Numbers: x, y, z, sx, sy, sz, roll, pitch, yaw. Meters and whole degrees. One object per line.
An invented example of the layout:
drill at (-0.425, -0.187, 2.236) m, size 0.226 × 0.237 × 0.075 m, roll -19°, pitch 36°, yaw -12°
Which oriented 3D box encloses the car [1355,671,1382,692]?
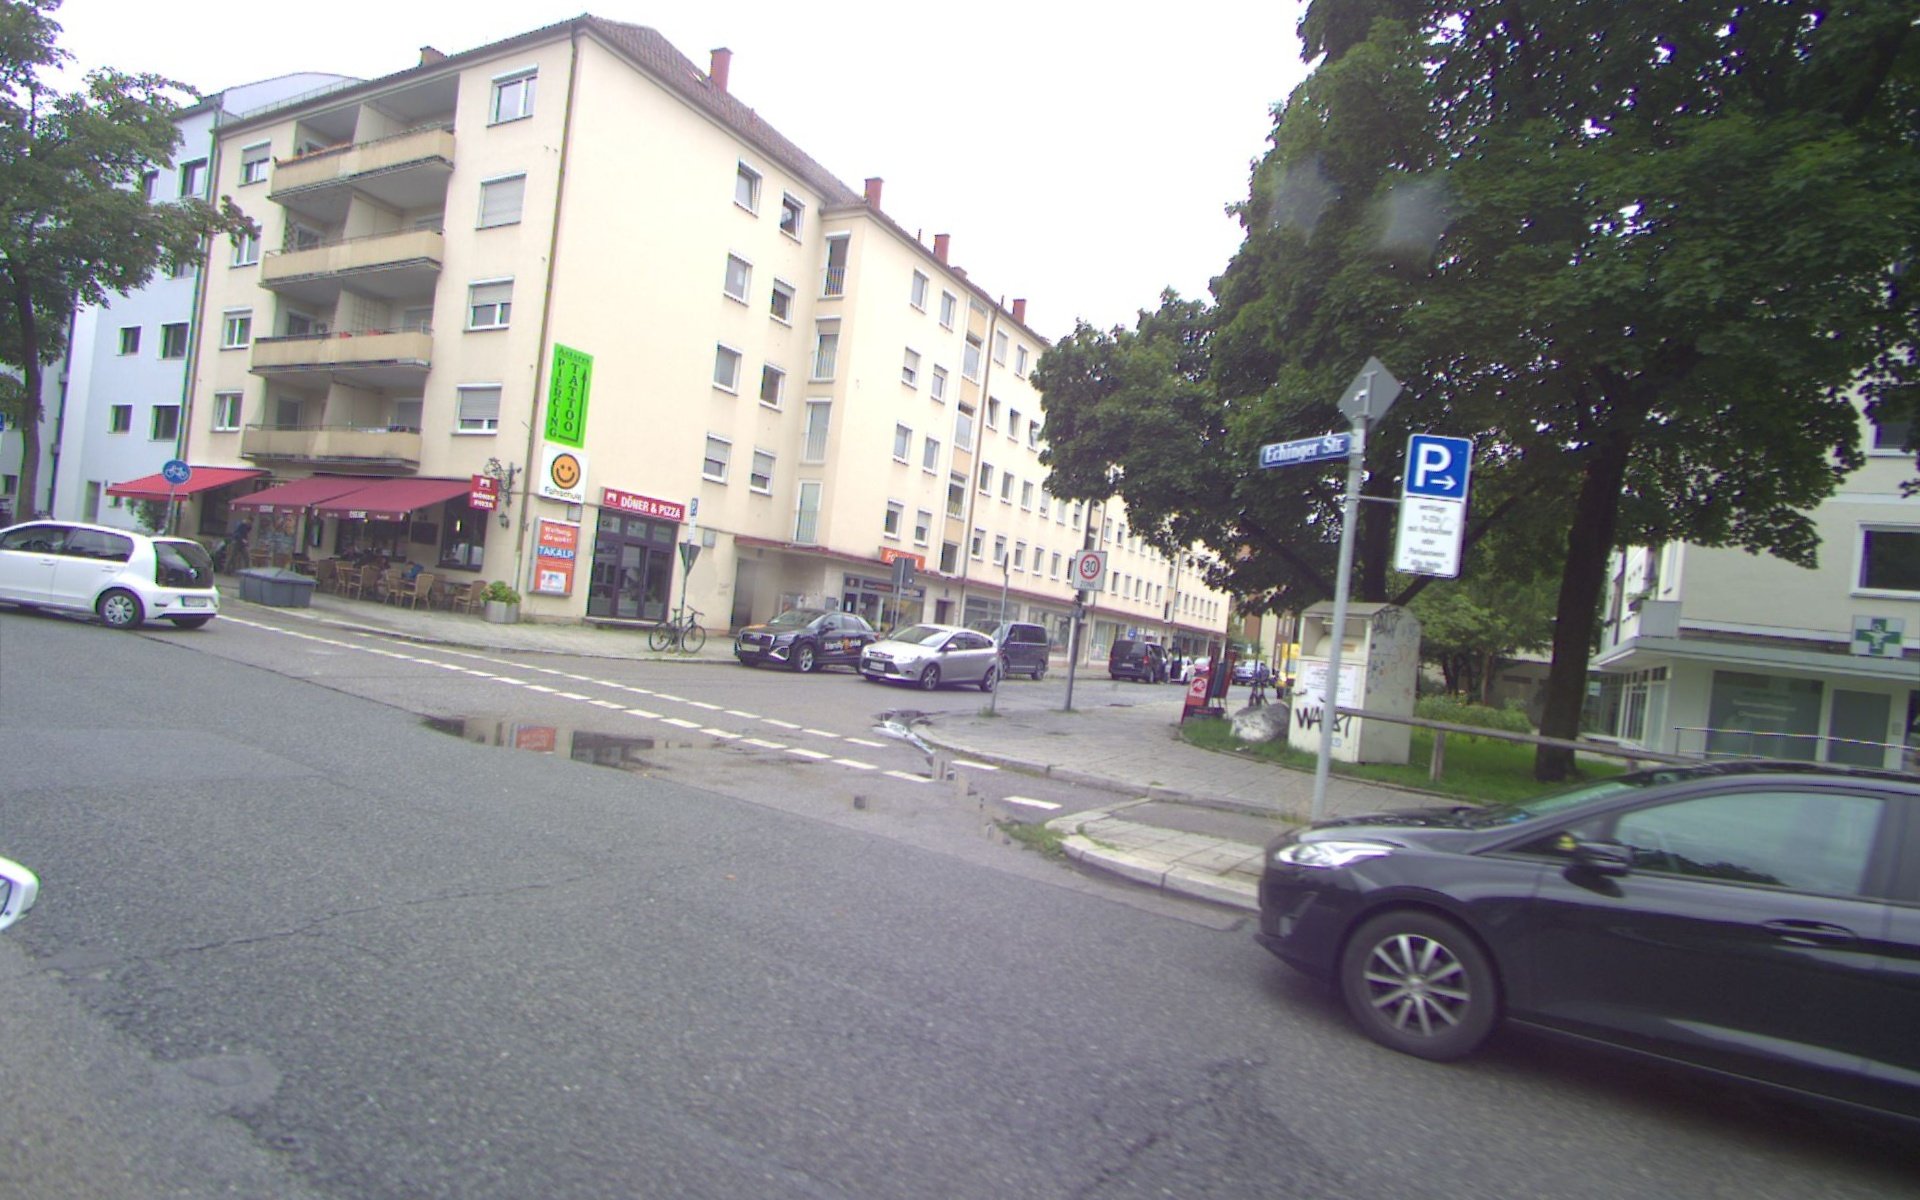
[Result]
car at (35.797, 7.164, 88.123) m, size 1.573 × 1.638 × 3.763 m, roll 6°, pitch -1°, yaw 30°

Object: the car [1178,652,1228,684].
car at (13.491, 3.793, 55.699) m, size 1.573 × 1.459 × 3.763 m, roll 7°, pitch -2°, yaw 30°

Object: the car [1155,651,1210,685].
car at (11.552, 3.550, 52.086) m, size 1.573 × 1.459 × 3.763 m, roll 7°, pitch -2°, yaw 30°

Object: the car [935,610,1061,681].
car at (1.380, 1.572, 33.626) m, size 1.966 × 1.907 × 4.994 m, roll 7°, pitch -2°, yaw 30°

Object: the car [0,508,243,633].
car at (-13.295, -0.472, 15.299) m, size 3.375 × 1.507 × 1.691 m, roll 7°, pitch -1°, yaw -6°

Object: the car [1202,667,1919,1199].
car at (3.276, 1.331, 4.355) m, size 3.890 × 1.494 × 1.647 m, roll 7°, pitch -1°, yaw 31°

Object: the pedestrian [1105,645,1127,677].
pedestrian at (7.371, 2.894, 47.494) m, size 0.723 × 1.427 × 0.493 m, roll 6°, pitch 0°, yaw 37°

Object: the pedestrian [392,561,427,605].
pedestrian at (-14.445, -0.447, 26.417) m, size 0.479 × 1.066 × 0.539 m, roll 7°, pitch 0°, yaw 31°

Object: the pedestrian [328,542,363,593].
pedestrian at (-17.444, -0.927, 28.560) m, size 0.543 × 1.355 × 0.539 m, roll 7°, pitch 0°, yaw 30°

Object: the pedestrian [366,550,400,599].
pedestrian at (-15.627, -0.680, 27.250) m, size 0.479 × 1.229 × 0.539 m, roll 7°, pitch 0°, yaw 31°

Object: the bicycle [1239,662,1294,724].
bicycle at (6.426, 1.938, 21.075) m, size 0.687 × 1.170 × 1.472 m, roll 7°, pitch -1°, yaw 29°

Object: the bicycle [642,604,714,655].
bicycle at (-6.519, 0.696, 23.320) m, size 0.545 × 1.023 × 1.541 m, roll 7°, pitch -1°, yaw 34°

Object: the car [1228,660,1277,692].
car at (20.011, 5.207, 68.756) m, size 1.966 × 1.806 × 4.994 m, roll 7°, pitch -2°, yaw 30°

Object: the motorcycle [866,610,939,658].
motorcycle at (-2.010, 1.259, 36.053) m, size 0.875 × 1.459 × 3.259 m, roll 6°, pitch -2°, yaw 29°

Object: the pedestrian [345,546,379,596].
pedestrian at (-16.514, -0.803, 27.791) m, size 0.478 × 1.283 × 0.539 m, roll 7°, pitch 0°, yaw 30°

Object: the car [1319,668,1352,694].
car at (27.543, 5.980, 73.693) m, size 1.573 × 1.638 × 3.763 m, roll 6°, pitch -1°, yaw 30°

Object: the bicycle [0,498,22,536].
bicycle at (-39.359, -3.446, 41.193) m, size 2.550 × 1.425 × 0.703 m, roll 6°, pitch 2°, yaw 32°

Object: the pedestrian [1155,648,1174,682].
pedestrian at (9.585, 3.047, 47.096) m, size 0.486 × 1.551 × 0.733 m, roll 7°, pitch 0°, yaw 31°

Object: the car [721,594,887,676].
car at (-3.623, 0.888, 24.053) m, size 1.701 × 1.537 × 3.933 m, roll 7°, pitch -2°, yaw 30°

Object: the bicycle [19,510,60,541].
bicycle at (-35.795, -2.908, 39.109) m, size 2.159 × 1.061 × 0.621 m, roll 6°, pitch 3°, yaw 32°

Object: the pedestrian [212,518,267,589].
pedestrian at (-21.371, -1.357, 29.849) m, size 0.747 × 1.952 × 0.871 m, roll 7°, pitch 0°, yaw 15°

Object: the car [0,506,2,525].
car at (-21.415, -1.407, 20.236) m, size 3.819 × 1.490 × 1.834 m, roll 6°, pitch -1°, yaw 27°

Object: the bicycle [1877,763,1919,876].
bicycle at (9.954, 2.219, 9.466) m, size 1.822 × 1.027 × 0.448 m, roll 6°, pitch -1°, yaw 32°

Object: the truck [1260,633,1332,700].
truck at (16.581, 3.326, 49.406) m, size 2.236 × 2.803 × 6.765 m, roll 7°, pitch -1°, yaw 26°

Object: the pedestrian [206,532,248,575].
pedestrian at (-22.492, -1.419, 30.865) m, size 0.636 × 1.177 × 0.744 m, roll 7°, pitch -1°, yaw 31°

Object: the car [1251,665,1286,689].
car at (22.755, 5.674, 74.062) m, size 1.573 × 1.459 × 3.763 m, roll 7°, pitch -2°, yaw 30°

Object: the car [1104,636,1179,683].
car at (8.554, 2.835, 47.107) m, size 2.117 × 1.806 × 4.999 m, roll 7°, pitch -2°, yaw 25°

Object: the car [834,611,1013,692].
car at (-0.745, 1.246, 23.546) m, size 1.968 × 1.459 × 4.212 m, roll 6°, pitch -2°, yaw 34°
